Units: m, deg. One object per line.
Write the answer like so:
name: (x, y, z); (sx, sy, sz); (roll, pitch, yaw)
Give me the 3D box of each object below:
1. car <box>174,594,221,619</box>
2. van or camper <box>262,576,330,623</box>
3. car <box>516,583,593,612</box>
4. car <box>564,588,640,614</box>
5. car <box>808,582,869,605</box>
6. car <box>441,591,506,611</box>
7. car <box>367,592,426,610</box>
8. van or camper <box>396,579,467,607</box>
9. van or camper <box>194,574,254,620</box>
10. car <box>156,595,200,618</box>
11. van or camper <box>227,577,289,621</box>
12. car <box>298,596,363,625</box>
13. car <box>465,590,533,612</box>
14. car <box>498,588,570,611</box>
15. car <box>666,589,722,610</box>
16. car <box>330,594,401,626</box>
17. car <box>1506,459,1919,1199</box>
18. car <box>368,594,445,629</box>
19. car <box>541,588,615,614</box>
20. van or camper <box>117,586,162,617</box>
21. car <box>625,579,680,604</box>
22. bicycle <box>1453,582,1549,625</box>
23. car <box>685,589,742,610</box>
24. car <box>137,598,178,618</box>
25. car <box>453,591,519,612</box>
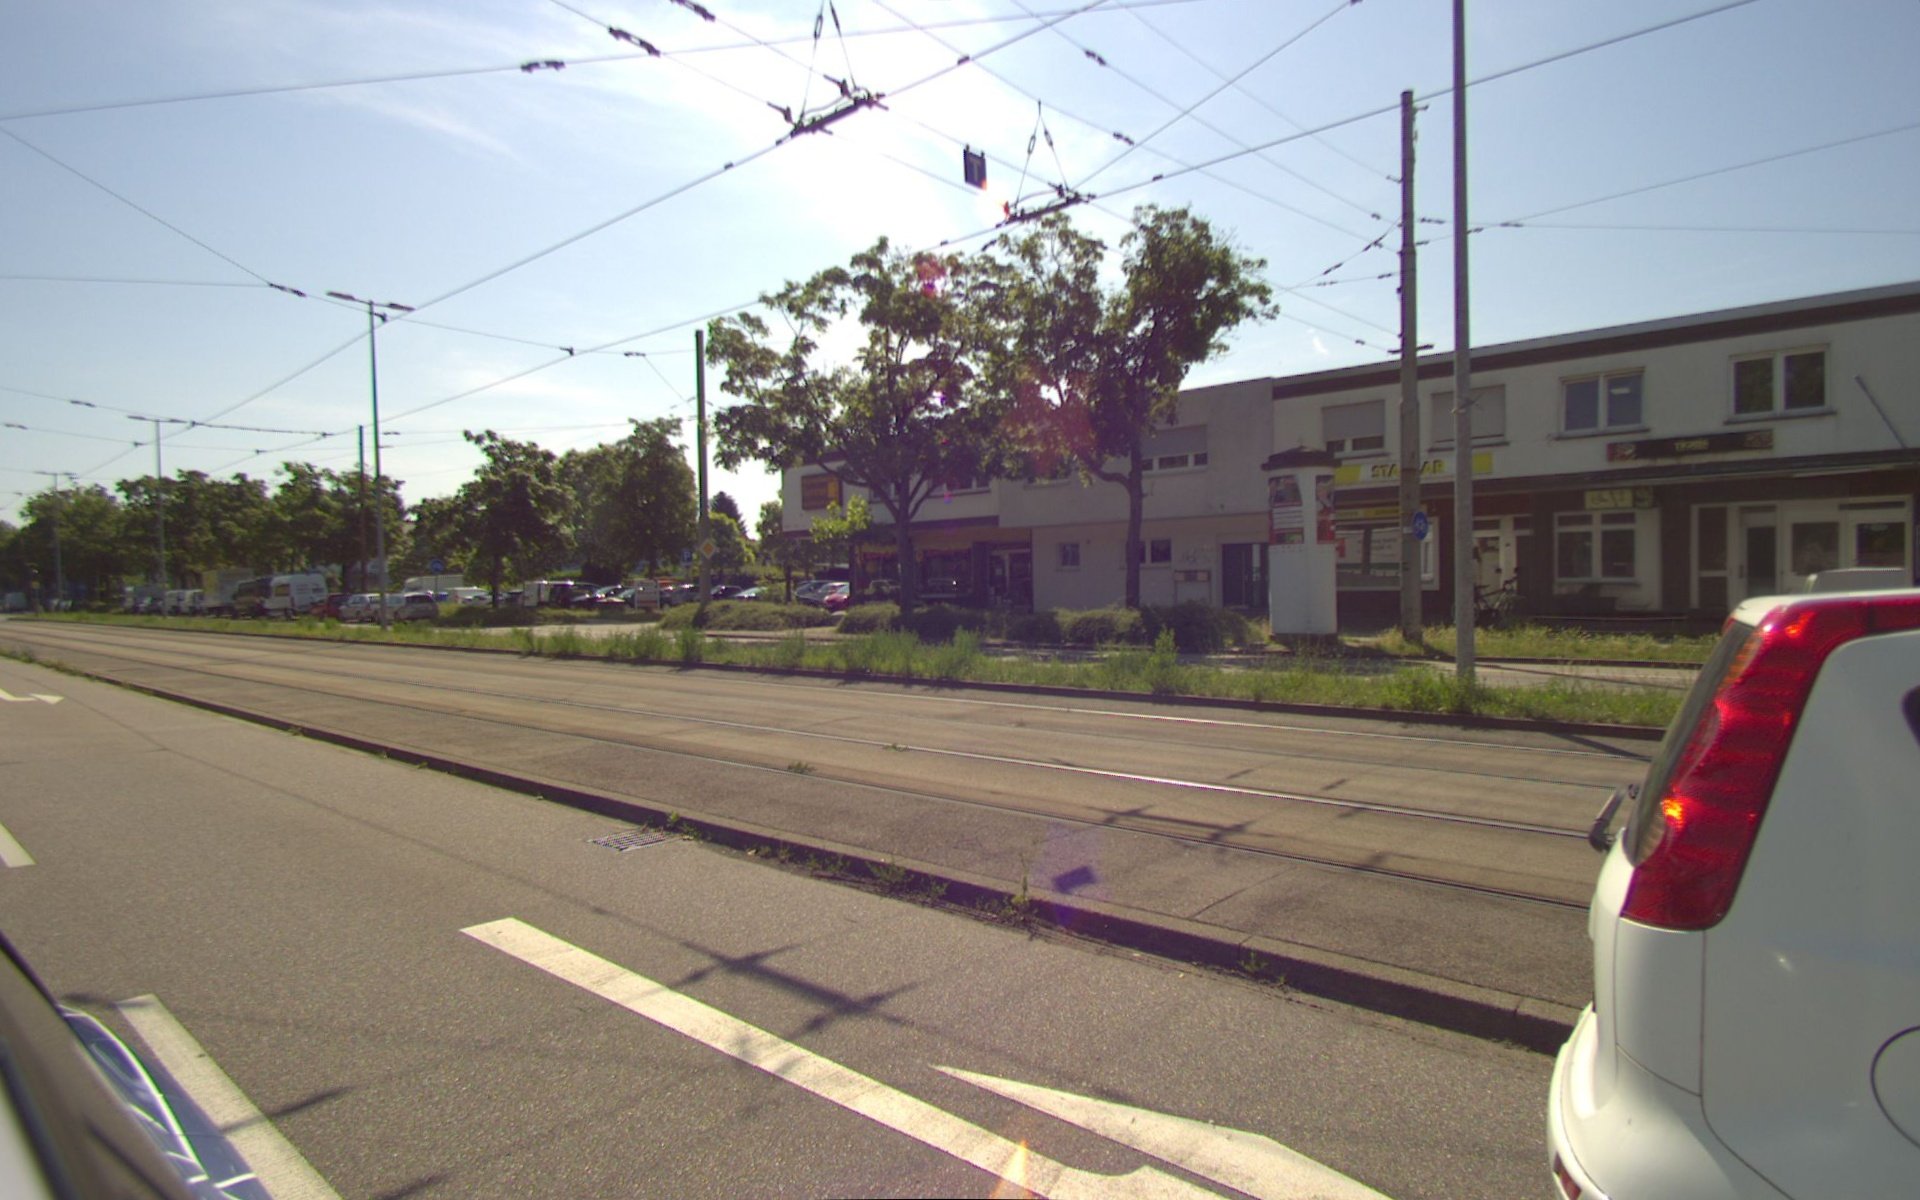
car: (-56.240, 0.479, 74.639); (4.229, 1.747, 1.869); (0, 1, 41)
van or camper: (-38.690, -0.042, 58.938); (4.836, 2.652, 2.014); (0, 1, 41)
car: (-23.788, -0.151, 59.406); (1.949, 1.581, 3.703); (-1, 1, 39)
car: (-19.808, 0.033, 56.042); (1.710, 1.372, 3.580); (-1, 1, 39)
car: (-7.482, -0.411, 62.789); (1.710, 1.372, 3.580); (-1, 1, 39)
car: (-33.158, 0.066, 69.006); (1.710, 1.291, 3.580); (-1, 1, 39)
car: (-43.673, 0.060, 78.493); (1.710, 1.291, 3.580); (-1, 1, 39)
van or camper: (-54.595, -0.771, 104.647); (2.299, 2.751, 6.001); (0, 1, 43)
van or camper: (-50.011, -0.224, 68.693); (5.278, 3.007, 2.101); (0, 1, 41)
car: (-61.327, 0.506, 79.361); (4.229, 1.781, 1.869); (0, 1, 41)
van or camper: (-44.075, -0.044, 63.492); (4.836, 2.652, 2.014); (0, 1, 41)
car: (-34.792, 0.562, 55.906); (4.229, 1.506, 1.869); (0, 1, 41)
car: (-29.625, 0.068, 65.101); (1.811, 1.291, 3.580); (-1, 1, 39)
car: (-25.599, -0.066, 60.862); (1.710, 1.294, 3.580); (-1, 1, 39)
car: (-19.052, -0.040, 72.633); (1.710, 1.372, 3.580); (-1, 1, 39)
car: (-30.763, 0.497, 52.327); (4.282, 1.572, 1.869); (0, 1, 41)
car: (2.886, 0.612, 0.781); (4.065, 1.573, 1.748); (0, 0, 41)
car: (-26.697, 0.530, 48.748); (4.284, 1.506, 1.868); (0, 4, 42)
car: (-21.810, 0.034, 57.919); (1.710, 1.372, 3.580); (-1, 1, 39)
van or camper: (-71.039, 0.138, 87.594); (5.450, 2.639, 2.087); (0, 0, 41)
car: (-22.993, -0.625, 75.825); (1.710, 1.791, 3.580); (-1, 1, 39)
bicycle: (13.054, 0.082, 24.443); (1.910, 0.990, 0.750); (0, 1, 41)
car: (-17.212, -0.018, 70.797); (1.710, 1.372, 3.580); (-1, 1, 39)
car: (-65.972, 0.633, 83.154); (4.229, 1.572, 1.869); (0, 1, 41)
car: (-31.489, 0.067, 67.280); (1.710, 1.291, 3.580); (-1, 1, 39)
